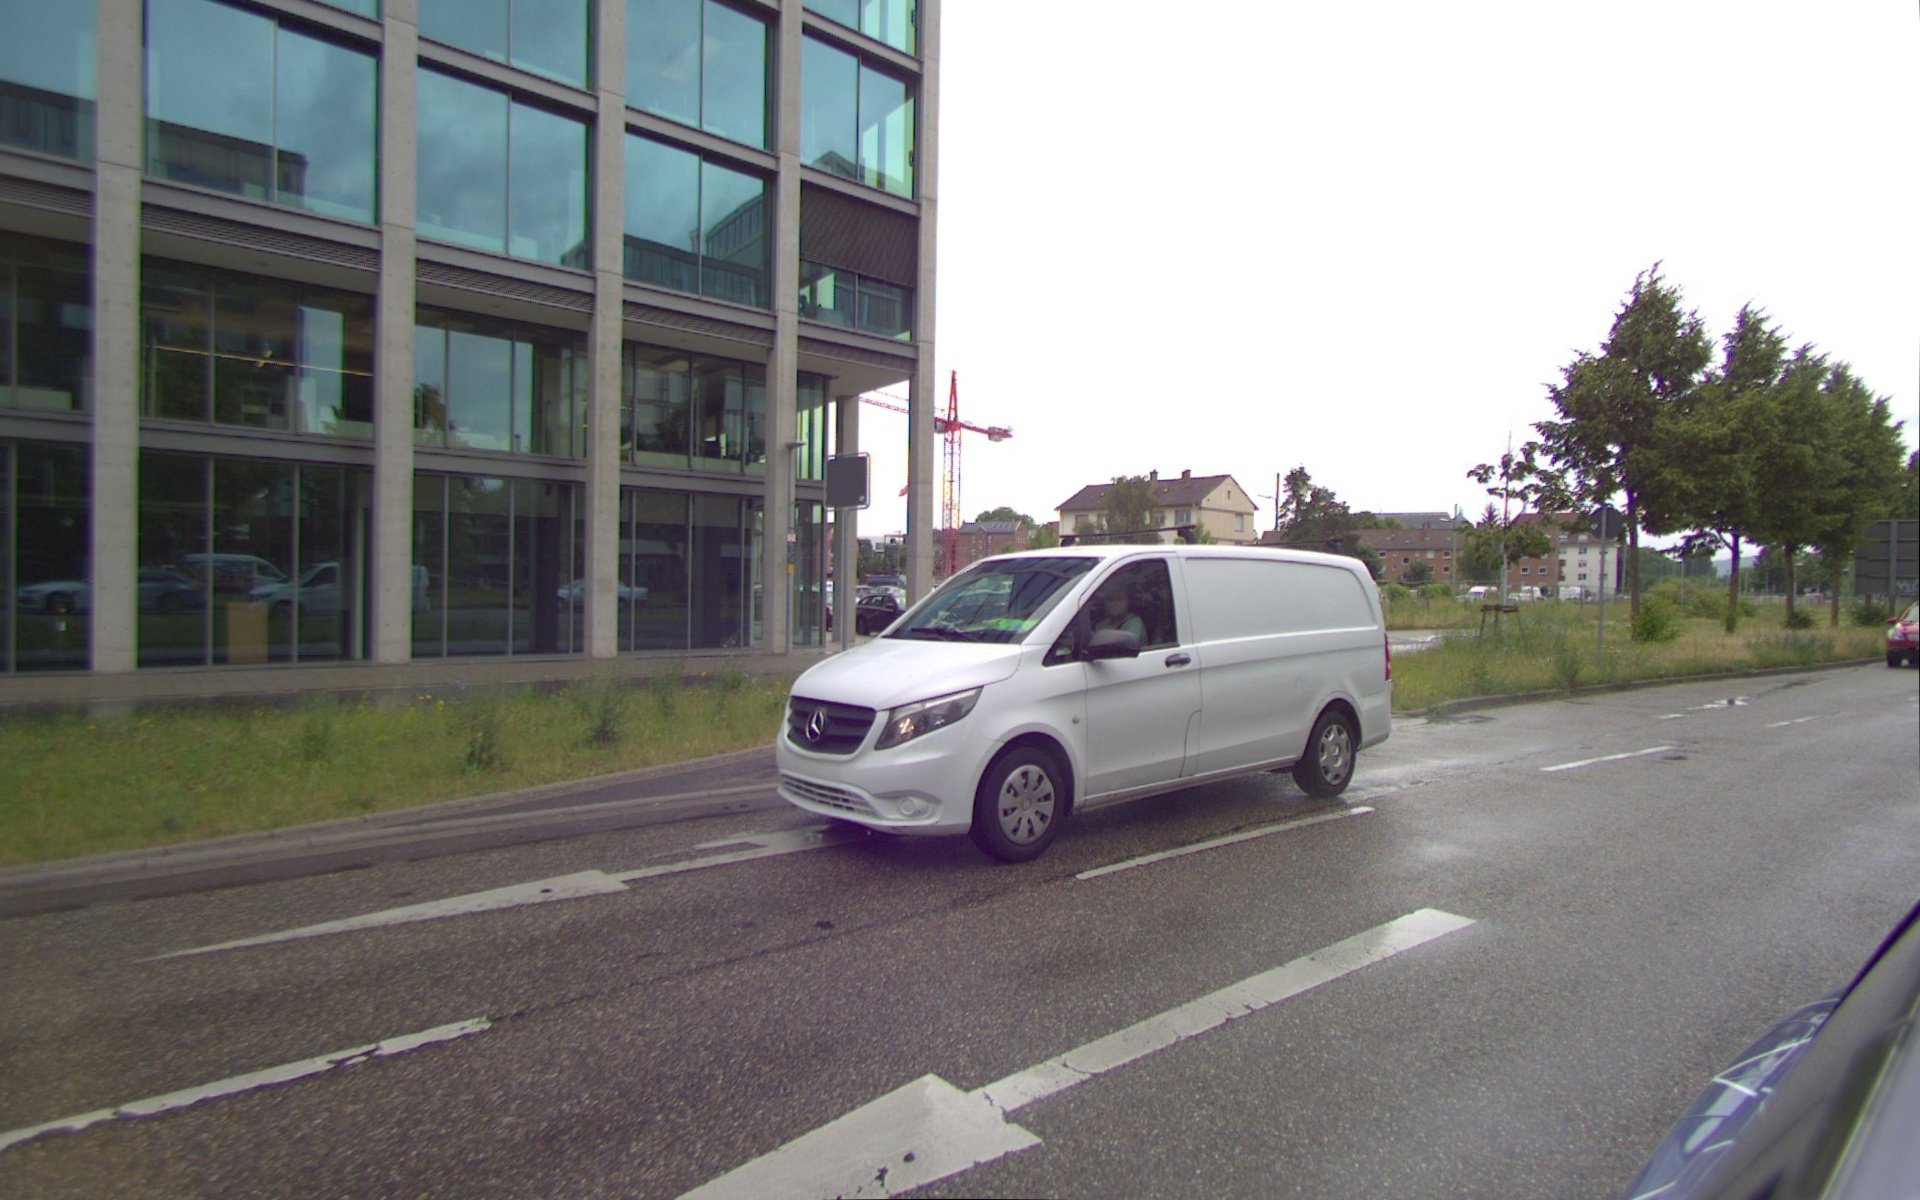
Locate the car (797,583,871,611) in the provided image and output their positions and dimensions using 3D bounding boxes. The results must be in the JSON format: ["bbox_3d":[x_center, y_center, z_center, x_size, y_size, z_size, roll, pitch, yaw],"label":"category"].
[{"bbox_3d":[-7.314,-0.206,58.880,3.965,1.369,1.698,-5,4,-42],"label":"car"}]

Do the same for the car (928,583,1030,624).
[{"bbox_3d":[0.838,0.118,44.077,4.152,1.492,1.791,-5,3,-35],"label":"car"}]

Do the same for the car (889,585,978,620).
[{"bbox_3d":[-1.251,0.096,48.911,3.924,1.621,1.861,0,1,-35],"label":"car"}]

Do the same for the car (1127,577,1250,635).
[{"bbox_3d":[7.873,0.161,34.737,3.926,1.599,1.862,-6,3,-33],"label":"car"}]

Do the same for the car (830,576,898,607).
[{"bbox_3d":[-6.142,-0.581,64.862,3.956,1.732,1.702,-4,3,-33],"label":"car"}]

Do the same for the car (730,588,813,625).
[{"bbox_3d":[-7.690,0.234,41.076,1.825,1.390,4.000,2,0,-35],"label":"car"}]

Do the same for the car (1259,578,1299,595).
[{"bbox_3d":[35.662,-1.515,113.127,5.121,1.918,2.164,0,1,-45],"label":"car"}]

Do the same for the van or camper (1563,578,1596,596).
[{"bbox_3d":[81.199,-1.686,132.614,6.045,2.337,2.204,0,-1,-43],"label":"van or camper"}]

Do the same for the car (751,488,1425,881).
[{"bbox_3d":[1.187,0.406,7.467,4.997,2.004,1.973,0,1,-37],"label":"car"}]

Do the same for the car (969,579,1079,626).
[{"bbox_3d":[2.685,0.063,42.156,4.334,1.621,1.861,-5,3,-35],"label":"car"}]

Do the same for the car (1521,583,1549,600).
[{"bbox_3d":[79.973,-1.161,140.678,4.682,2.248,2.273,0,0,-45],"label":"car"}]

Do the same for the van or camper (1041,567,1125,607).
[{"bbox_3d":[9.883,-1.026,80.969,6.658,3.031,2.912,0,1,-41],"label":"van or camper"}]

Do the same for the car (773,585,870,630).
[{"bbox_3d":[-5.145,0.237,37.293,1.826,1.507,3.999,3,-1,-36],"label":"car"}]

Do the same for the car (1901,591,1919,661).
[{"bbox_3d":[24.422,0.613,24.581,4.169,1.632,1.798,0,0,-40],"label":"car"}]

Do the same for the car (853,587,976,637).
[{"bbox_3d":[-1.532,0.363,32.457,1.943,1.456,4.232,2,0,-35],"label":"car"}]
